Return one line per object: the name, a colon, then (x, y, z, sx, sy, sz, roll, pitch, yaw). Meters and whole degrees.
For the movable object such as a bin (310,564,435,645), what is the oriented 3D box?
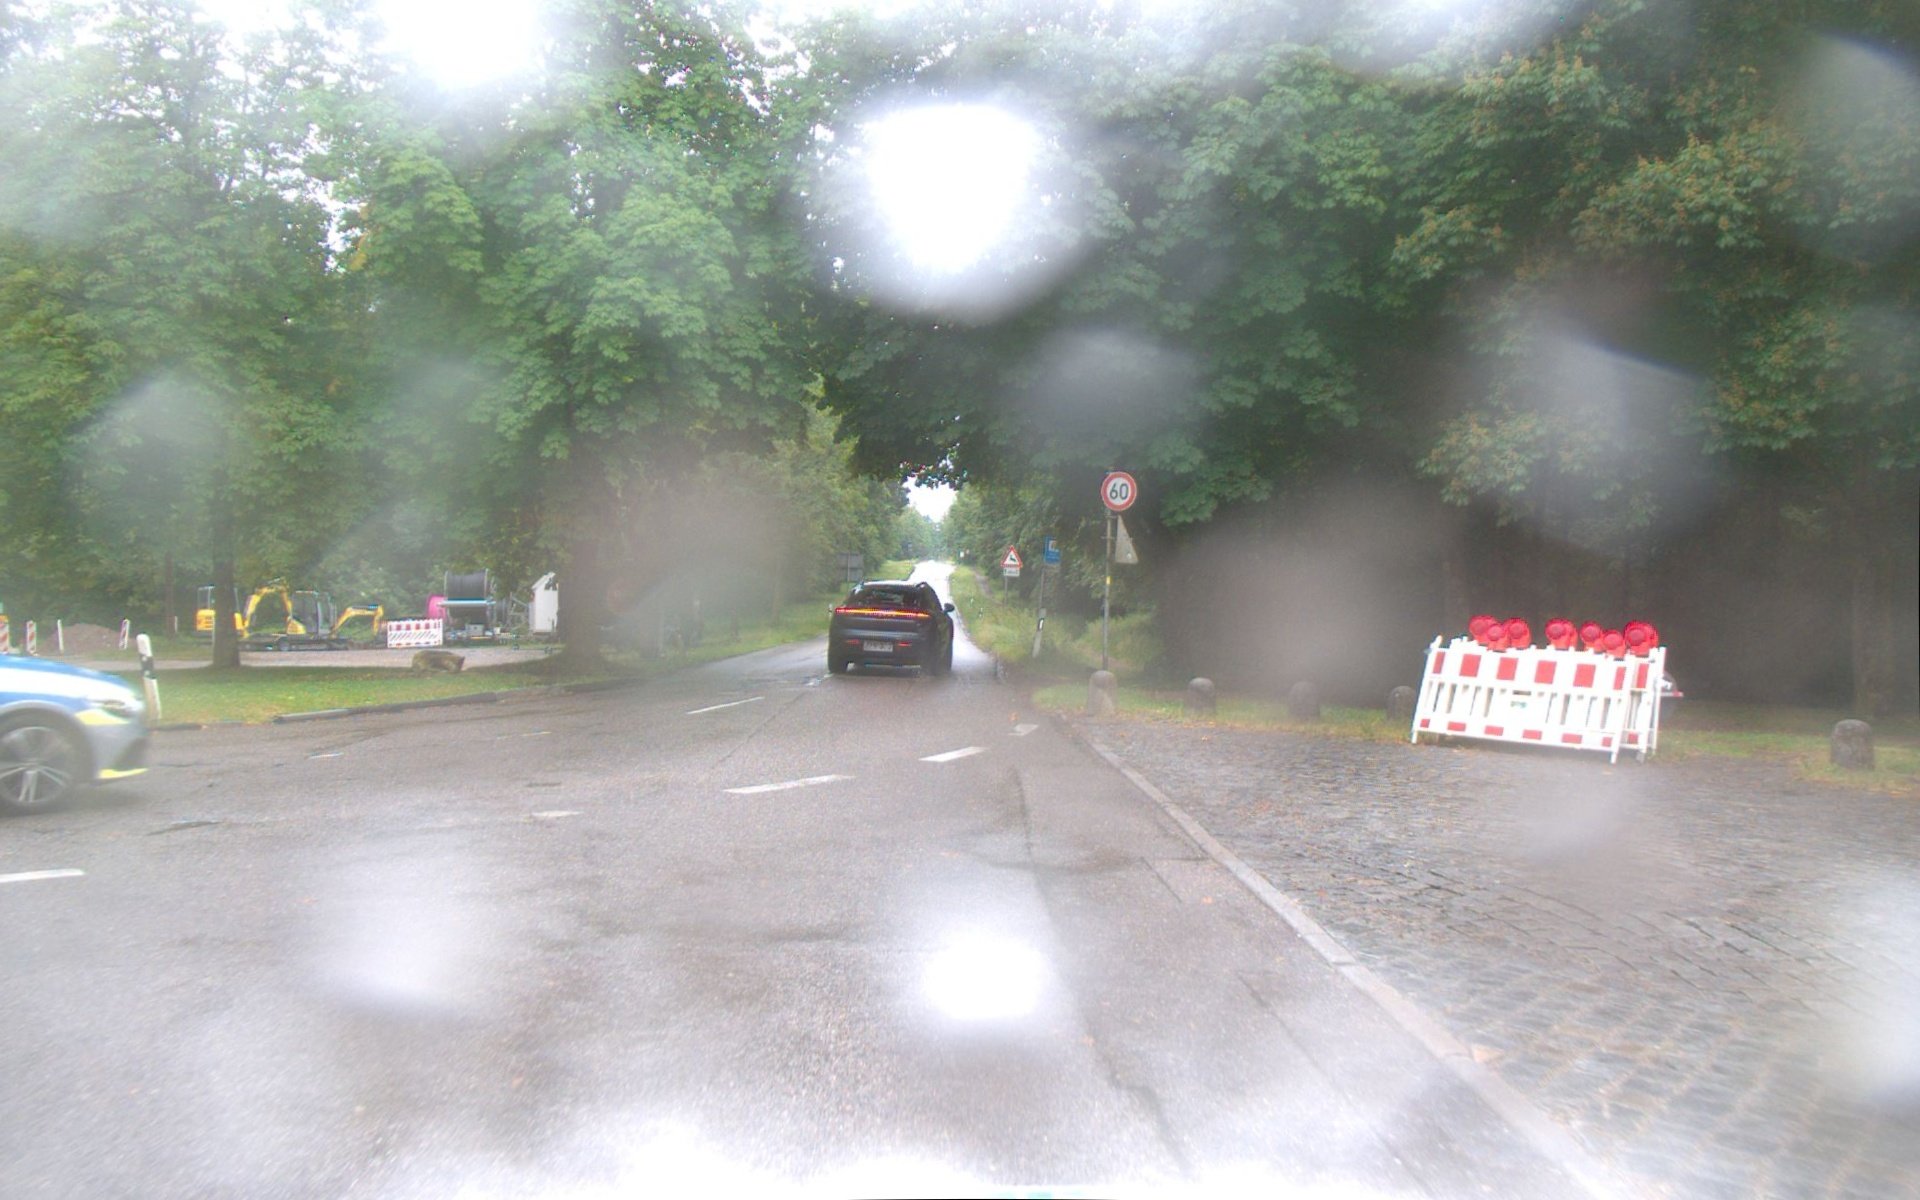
movable object such as a bin: (-24.994, 0.193, 70.582, 4.501, 3.351, 3.656, 0, 0, -12)

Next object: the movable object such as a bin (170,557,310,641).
movable object such as a bin: (-29.885, -0.038, 68.866, 4.572, 3.351, 3.902, 0, 0, -12)

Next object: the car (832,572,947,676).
car: (-1.218, 0.374, 30.305, 1.690, 1.738, 4.577, 0, 1, 3)

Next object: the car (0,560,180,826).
car: (-7.533, 0.593, 10.020, 4.851, 1.628, 1.709, -1, 1, -37)
